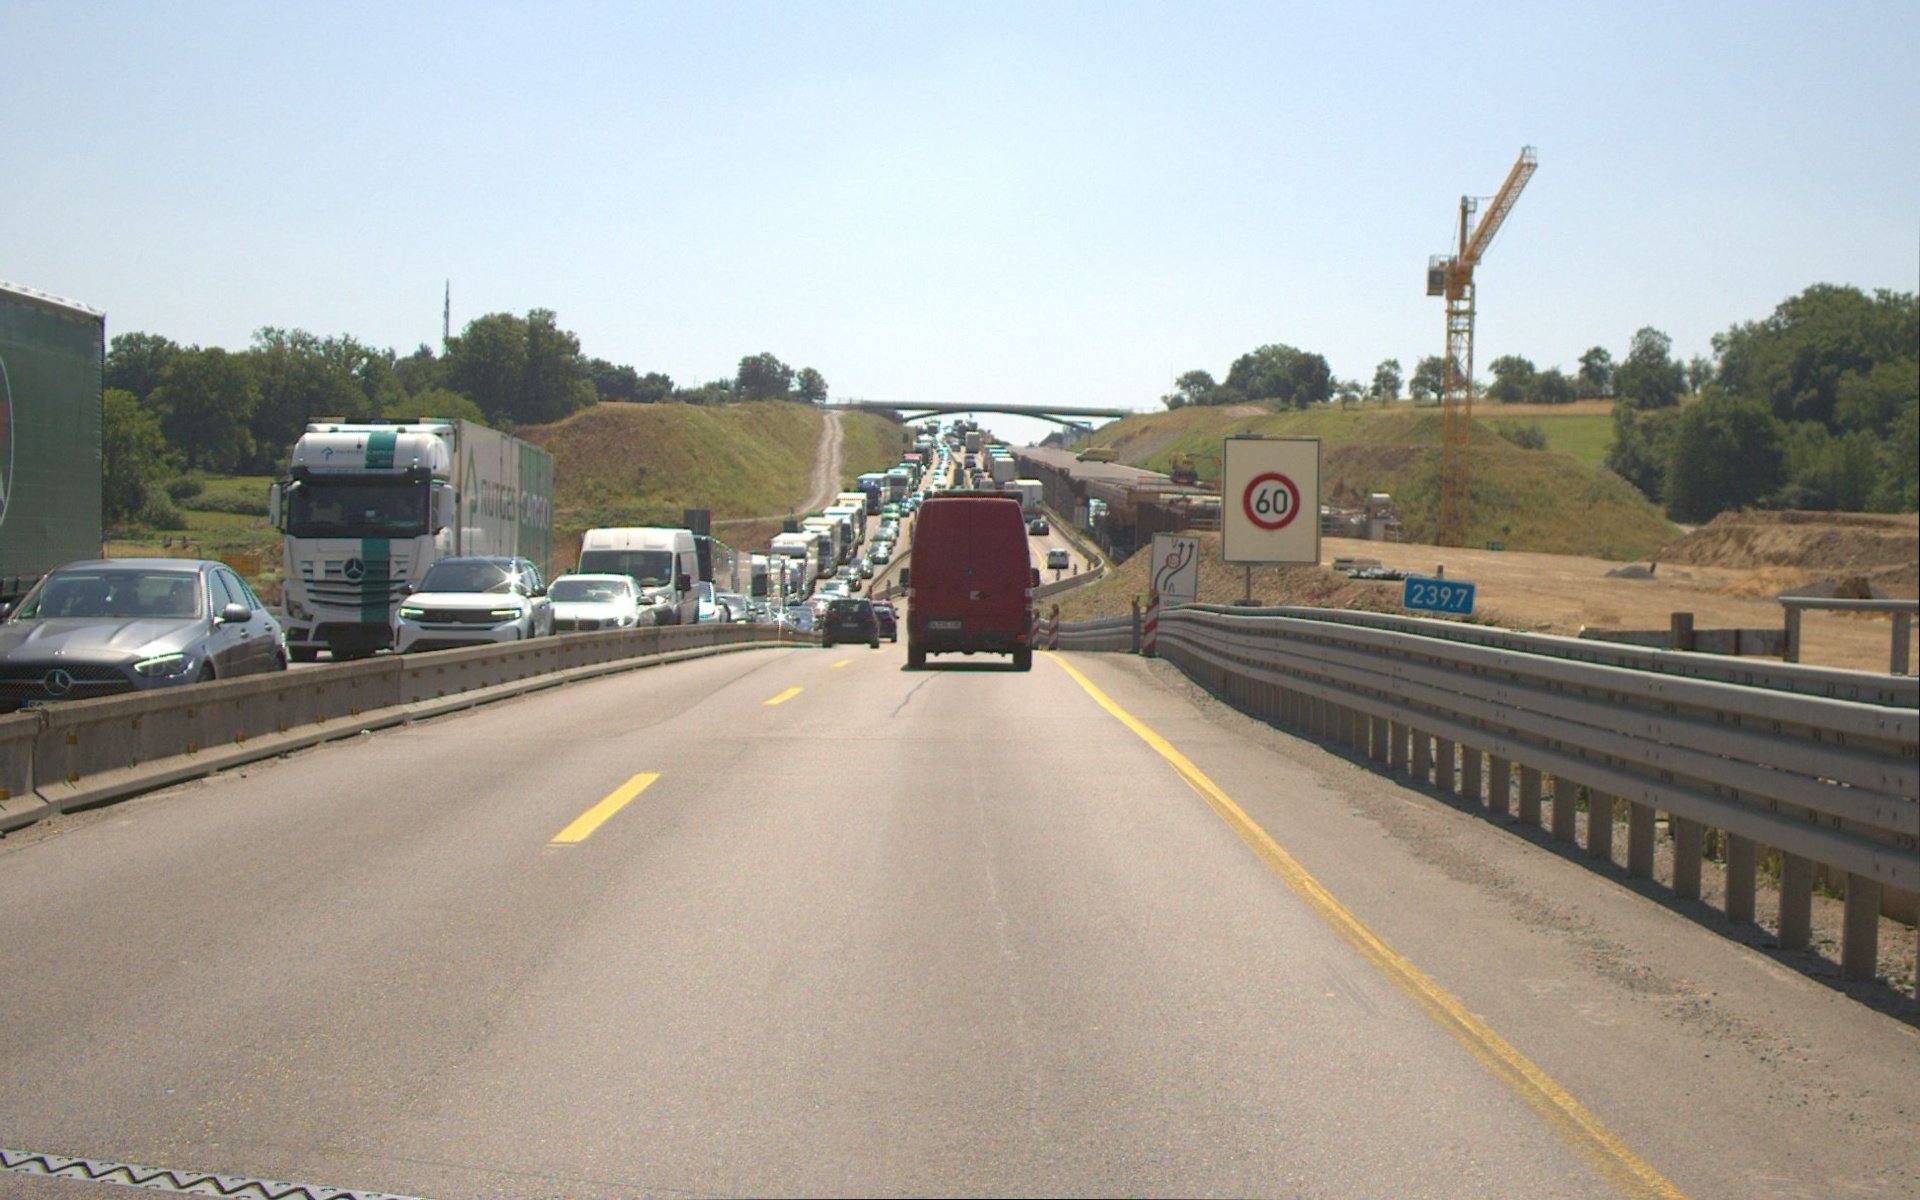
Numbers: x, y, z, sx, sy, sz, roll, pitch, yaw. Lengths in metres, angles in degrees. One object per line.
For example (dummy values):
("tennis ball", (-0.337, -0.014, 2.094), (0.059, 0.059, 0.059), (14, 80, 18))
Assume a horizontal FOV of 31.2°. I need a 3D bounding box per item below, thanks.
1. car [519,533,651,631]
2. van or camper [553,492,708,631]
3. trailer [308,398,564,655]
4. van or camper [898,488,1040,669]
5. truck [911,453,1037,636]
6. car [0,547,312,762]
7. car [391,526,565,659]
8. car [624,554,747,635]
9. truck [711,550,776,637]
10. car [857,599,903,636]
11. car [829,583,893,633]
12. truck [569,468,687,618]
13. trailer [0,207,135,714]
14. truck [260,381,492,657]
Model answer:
("car", (-6.231, -0.337, 57.573), (1.993, 1.493, 4.976), (2, 1, -4))
("van or camper", (-6.400, -0.761, 67.536), (2.218, 2.503, 6.533), (2, 1, 1))
("trailer", (-9.761, -1.249, 65.627), (2.815, 4.415, 13.167), (0, 0, 0))
("van or camper", (0.092, -0.355, 54.677), (2.029, 2.735, 4.516), (1, 1, -2))
("truck", (0.310, -1.473, 92.284), (3.020, 4.677, 6.933), (-1, 1, -2))
("car", (-6.452, 0.355, 26.800), (1.865, 1.454, 4.607), (2, 1, 0))
("car", (-6.446, -0.135, 46.386), (1.756, 1.641, 4.156), (2, 1, -1))
("car", (-6.450, -0.161, 81.343), (2.371, 1.720, 5.781), (3, 1, 0))
("truck", (-10.641, -0.301, 168.521), (2.977, 4.170, 5.875), (1, 0, -5))
("car", (-3.692, 0.799, 158.915), (2.012, 1.539, 4.133), (2, 1, -1))
("car", (-3.224, 0.261, 111.937), (2.012, 1.540, 4.133), (1, 1, -2))
("truck", (-10.098, -1.629, 105.480), (2.802, 4.138, 10.079), (2, -1, -2))
("trailer", (-9.968, -1.196, 28.479), (3.102, 4.449, 13.020), (0, 1, 0))
("truck", (-9.752, -1.338, 58.029), (2.806, 4.377, 6.225), (1, 1, 0))
